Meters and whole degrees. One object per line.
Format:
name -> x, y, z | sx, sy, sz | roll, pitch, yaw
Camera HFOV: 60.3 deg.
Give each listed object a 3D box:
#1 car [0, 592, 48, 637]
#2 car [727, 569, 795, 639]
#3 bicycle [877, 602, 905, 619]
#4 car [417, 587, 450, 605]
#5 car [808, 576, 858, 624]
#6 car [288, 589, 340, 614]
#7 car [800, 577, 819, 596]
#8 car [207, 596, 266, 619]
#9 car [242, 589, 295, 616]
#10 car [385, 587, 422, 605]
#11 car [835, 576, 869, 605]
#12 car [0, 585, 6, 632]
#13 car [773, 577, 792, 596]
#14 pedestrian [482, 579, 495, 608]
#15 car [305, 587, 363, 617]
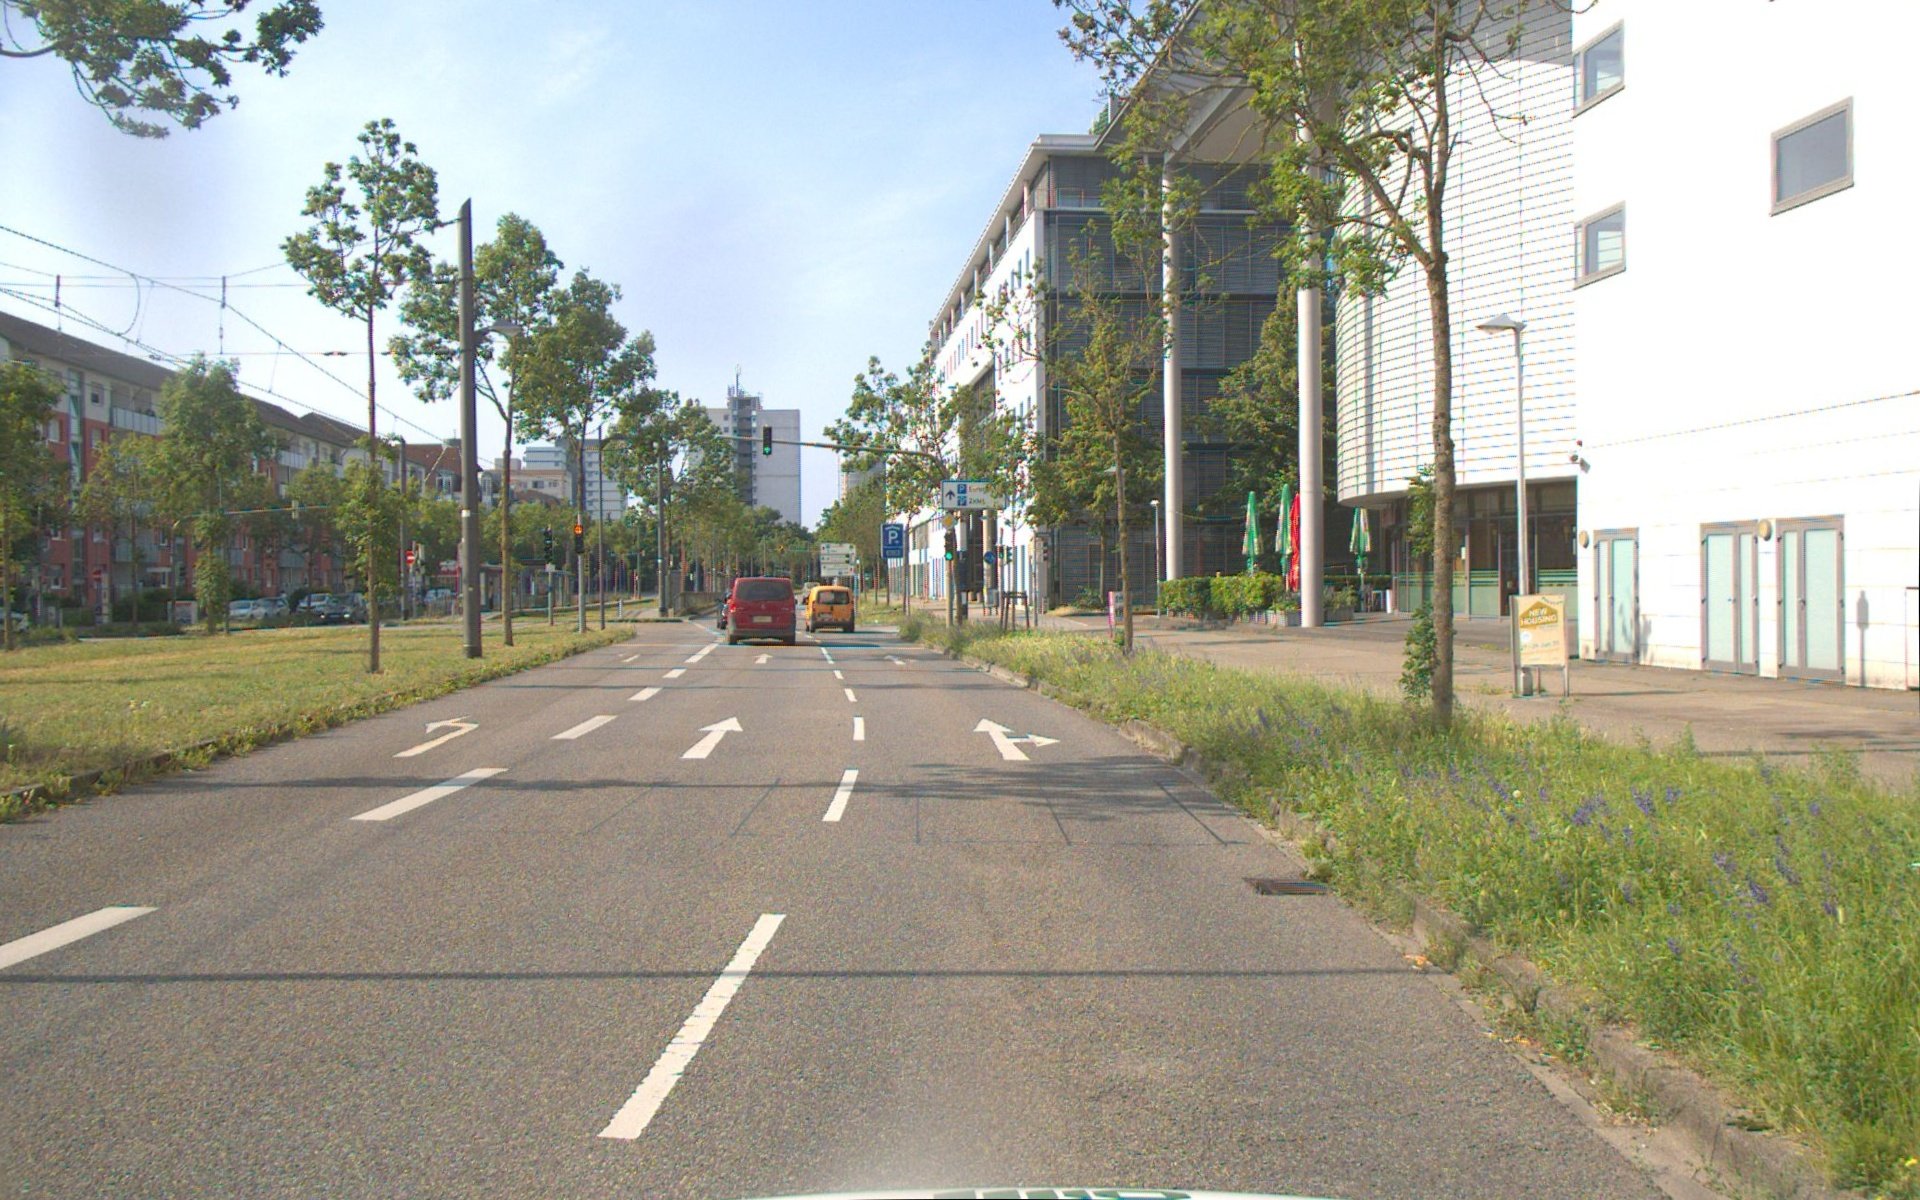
car -> -33.909, 0.456, 57.363 | 4.255, 1.489, 1.961 | 1, 0, 27
car -> -5.648, 0.093, 46.903 | 1.839, 1.886, 3.994 | 0, 0, -7
bicycle -> -3.271, 0.514, 78.834 | 1.245, 0.643, 0.521 | -7, 0, 1
car -> -44.974, -0.340, 141.352 | 1.943, 1.540, 4.274 | 1, 0, -7
car -> -4.802, -0.009, 62.184 | 1.839, 1.726, 3.969 | 0, 0, -5
car -> -41.438, 0.082, 106.185 | 1.943, 1.583, 4.530 | 1, 0, -7
car -> -16.578, -1.524, 182.121 | 1.955, 2.049, 3.995 | -1, 1, -6
car -> -39.524, 0.392, 90.453 | 1.798, 1.168, 4.159 | 1, 0, -7
car -> -40.229, 0.128, 96.260 | 1.798, 1.496, 3.821 | 1, 0, -7
car -> -43.968, -0.296, 130.705 | 1.943, 1.384, 4.063 | 1, 0, -7
car -> -6.027, -0.558, 92.083 | 1.687, 1.545, 3.775 | -1, 1, -7
car -> -33.268, 0.308, 53.781 | 4.367, 1.541, 1.996 | -1, 1, 31
car -> -19.369, -1.468, 180.800 | 1.956, 2.049, 3.994 | -1, 1, -7
pedestrian -> -27.384, -0.362, 96.057 | 0.659, 1.682, 0.792 | -1, 0, -11
car -> -36.420, 0.110, 96.265 | 1.955, 1.736, 4.708 | 0, 0, -5
